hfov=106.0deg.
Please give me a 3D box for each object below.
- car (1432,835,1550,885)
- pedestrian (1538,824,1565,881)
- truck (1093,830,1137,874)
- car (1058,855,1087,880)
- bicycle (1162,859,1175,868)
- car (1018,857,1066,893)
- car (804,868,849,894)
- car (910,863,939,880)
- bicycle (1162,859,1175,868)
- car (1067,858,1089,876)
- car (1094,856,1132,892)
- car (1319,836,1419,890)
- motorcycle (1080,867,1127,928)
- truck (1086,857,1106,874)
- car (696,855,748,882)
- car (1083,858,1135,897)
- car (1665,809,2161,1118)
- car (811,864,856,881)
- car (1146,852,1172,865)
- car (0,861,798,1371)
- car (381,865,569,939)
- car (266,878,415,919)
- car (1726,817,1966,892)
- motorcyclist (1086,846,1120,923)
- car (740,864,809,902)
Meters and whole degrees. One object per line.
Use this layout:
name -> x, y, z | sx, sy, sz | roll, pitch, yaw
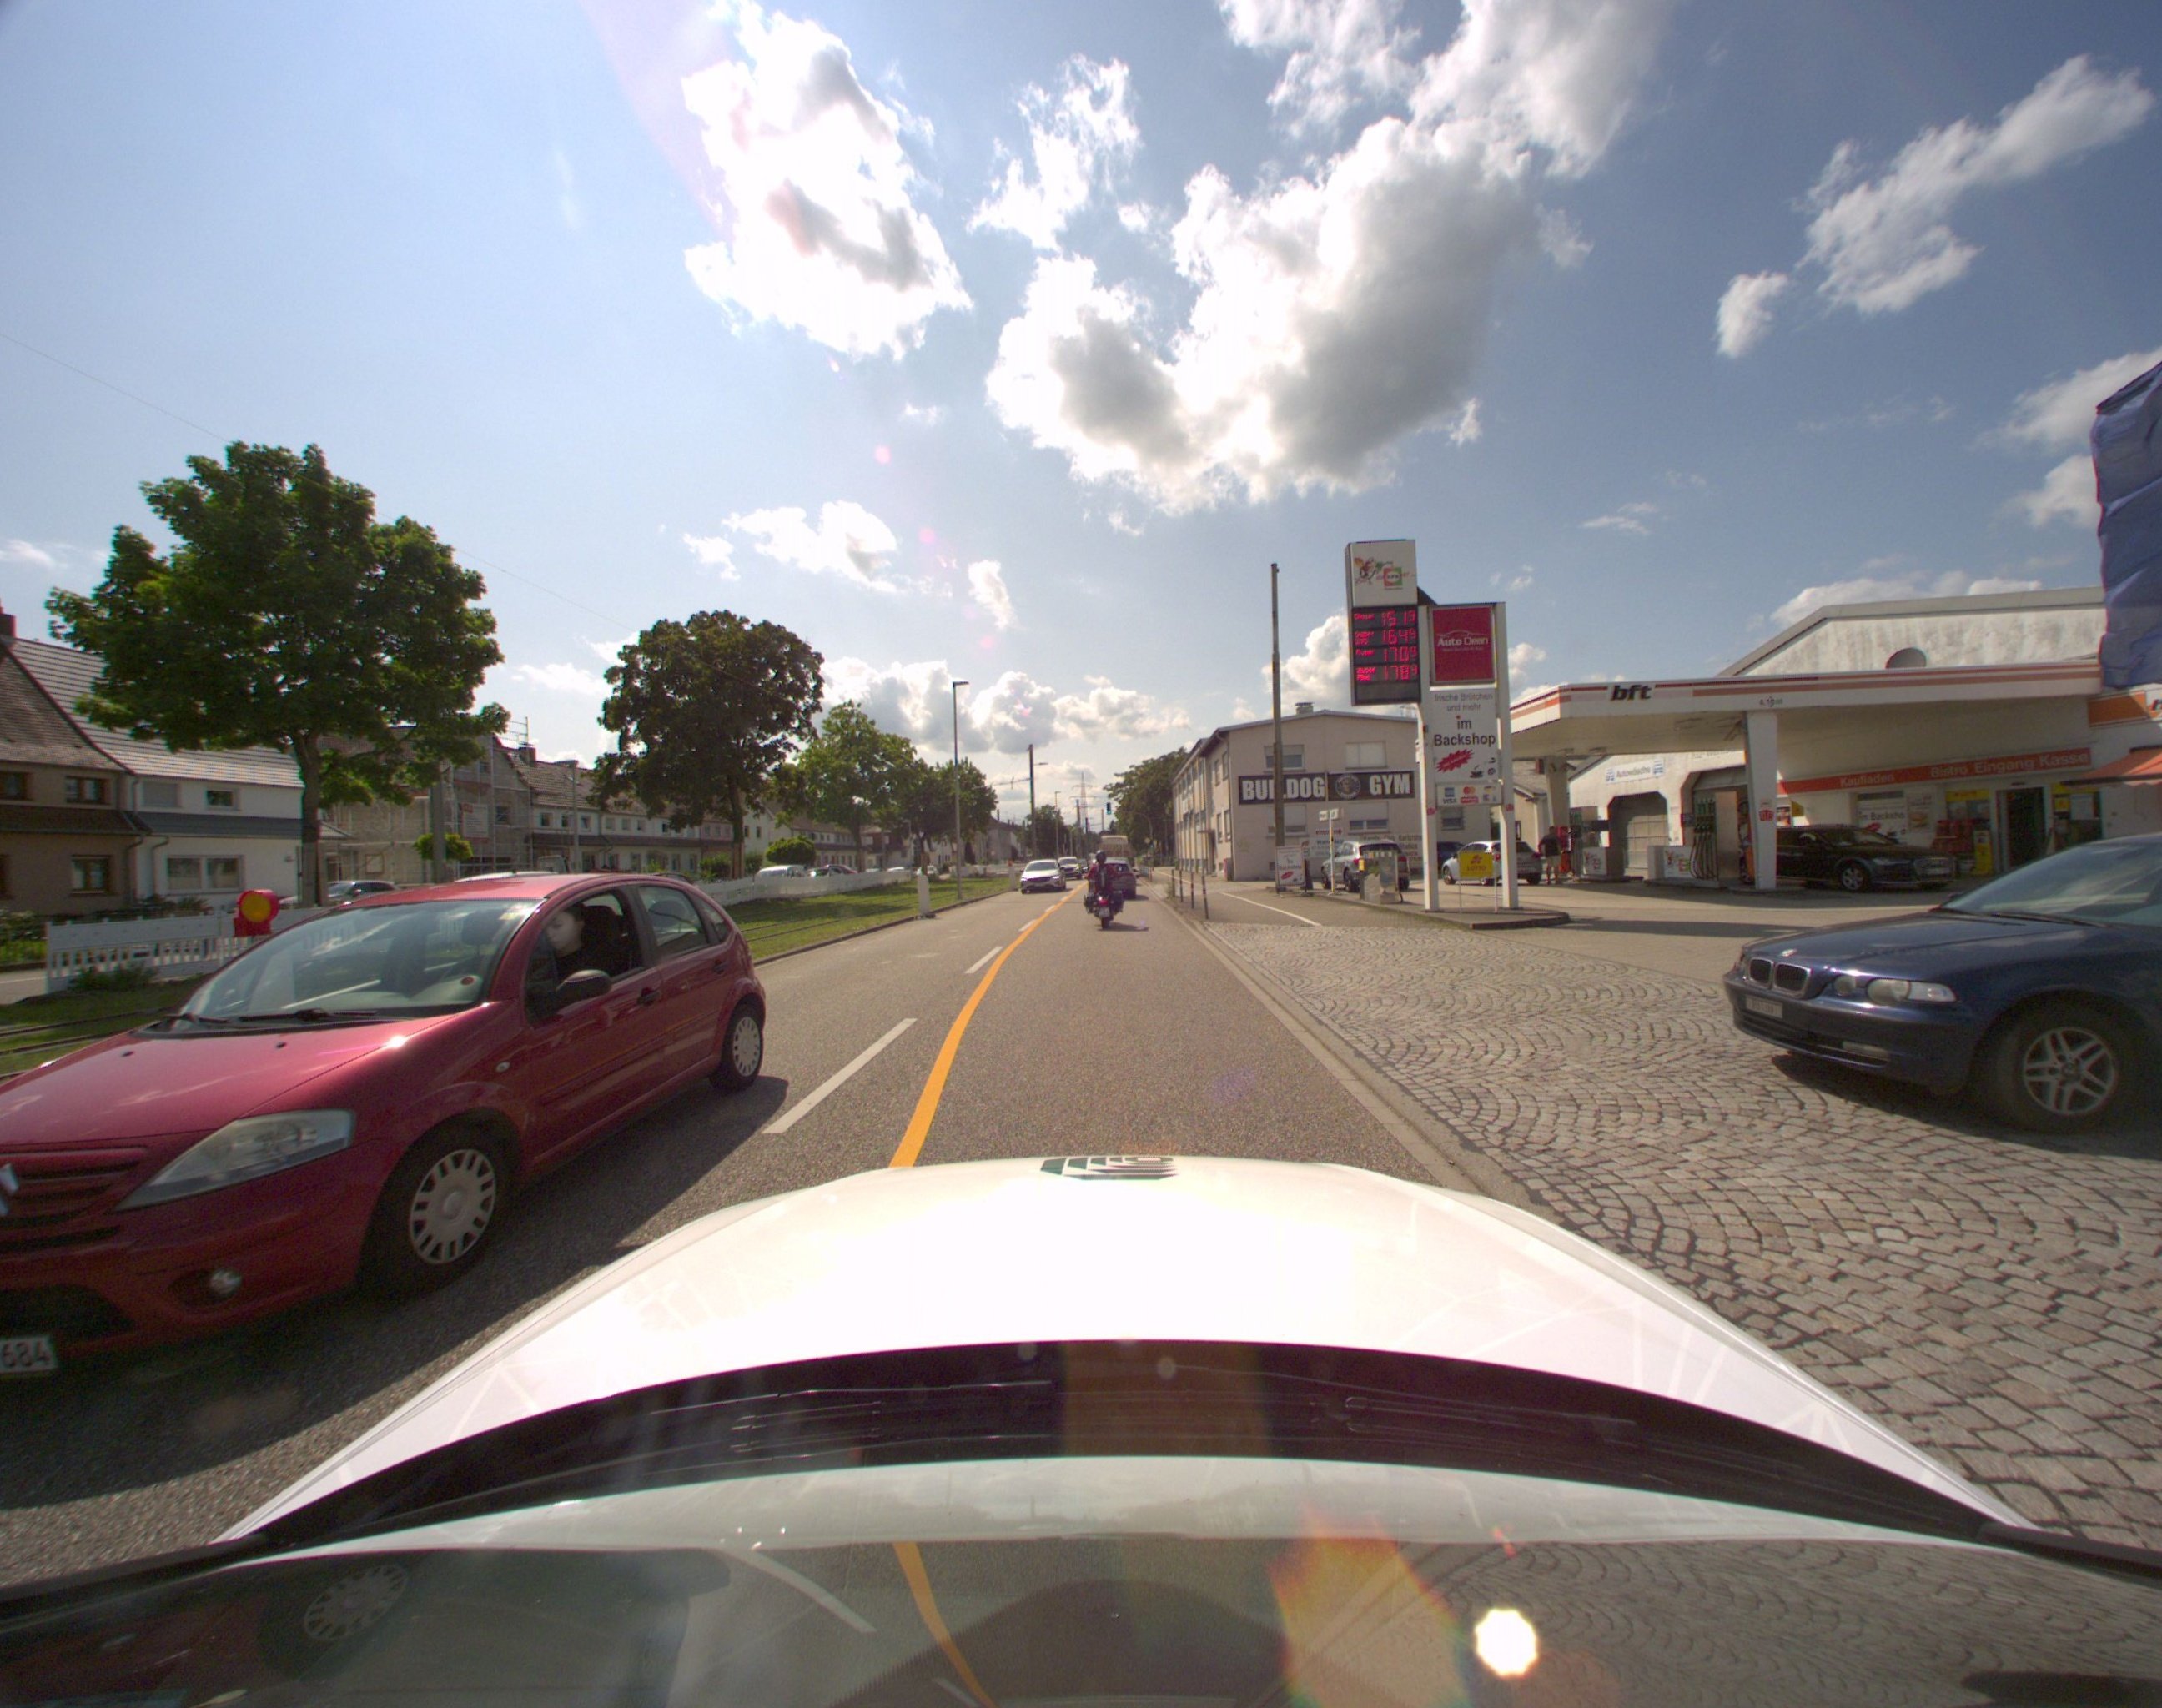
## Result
car -> 13.744, 0.226, 27.609 | 1.686, 1.471, 4.422 | -3, -1, 0
pedestrian -> 14.870, -0.044, 25.747 | 0.495, 1.776, 0.577 | 0, -1, 0
truck -> 2.675, -0.065, 62.153 | 2.953, 3.173, 7.775 | 0, -1, 5
car -> -0.592, 0.976, 59.254 | 1.817, 1.666, 4.464 | -3, -1, 2
bicycle -> 11.552, 1.234, 107.498 | 1.698, 1.172, 0.439 | 0, -1, 7
car -> -1.732, 0.938, 37.410 | 1.814, 1.445, 4.485 | -3, -1, 2
car -> -14.414, 1.498, 46.241 | 1.345, 1.377, 3.116 | -3, -1, 2
car -> -12.992, 1.418, 67.796 | 1.515, 1.354, 3.623 | 0, -1, 3
bicycle -> 11.475, 1.214, 106.915 | 1.698, 1.172, 0.439 | 0, -1, 7
car -> -0.279, 1.189, 73.342 | 1.686, 1.412, 3.861 | -6, -1, 2
car -> 1.790, 1.037, 44.265 | 1.893, 1.712, 4.724 | -2, 1, 3
car -> 9.433, 0.289, 27.115 | 1.937, 1.625, 4.620 | -1, -1, 4
motorcycle -> 0.515, 0.889, 17.583 | 0.939, 1.200, 2.474 | 0, 0, 3
truck -> 1.841, 1.362, 97.422 | 1.809, 1.909, 5.128 | 0, 0, 8
car -> -27.134, 1.105, 61.714 | 1.986, 2.014, 4.002 | 0, -1, 2
car -> 1.010, 0.844, 31.216 | 1.727, 1.403, 4.083 | 0, 0, -2
car -> 5.836, 0.499, 4.398 | 4.027, 1.408, 1.652 | -1, -1, 10
car -> -25.129, 1.860, 82.693 | 3.971, 1.510, 1.726 | -2, 0, 1
car -> 12.202, 0.727, 127.021 | 4.022, 1.926, 1.781 | 1, -1, -42
car -> -3.038, 0.816, 4.304 | 1.572, 1.469, 3.723 | -2, 0, 3
car -> -15.314, 1.153, 20.894 | 1.646, 1.626, 4.003 | -3, -1, 2
car -> -27.024, 1.584, 29.922 | 1.528, 1.275, 4.123 | -3, -1, 2
car -> 18.087, -0.039, 19.602 | 1.676, 1.519, 4.496 | -3, 1, 3
motorcyclist -> 0.471, 0.646, 17.287 | 0.695, 1.604, 0.692 | 0, -1, 2
car -> -14.625, 1.356, 39.072 | 1.616, 1.651, 3.901 | -3, -1, 2
